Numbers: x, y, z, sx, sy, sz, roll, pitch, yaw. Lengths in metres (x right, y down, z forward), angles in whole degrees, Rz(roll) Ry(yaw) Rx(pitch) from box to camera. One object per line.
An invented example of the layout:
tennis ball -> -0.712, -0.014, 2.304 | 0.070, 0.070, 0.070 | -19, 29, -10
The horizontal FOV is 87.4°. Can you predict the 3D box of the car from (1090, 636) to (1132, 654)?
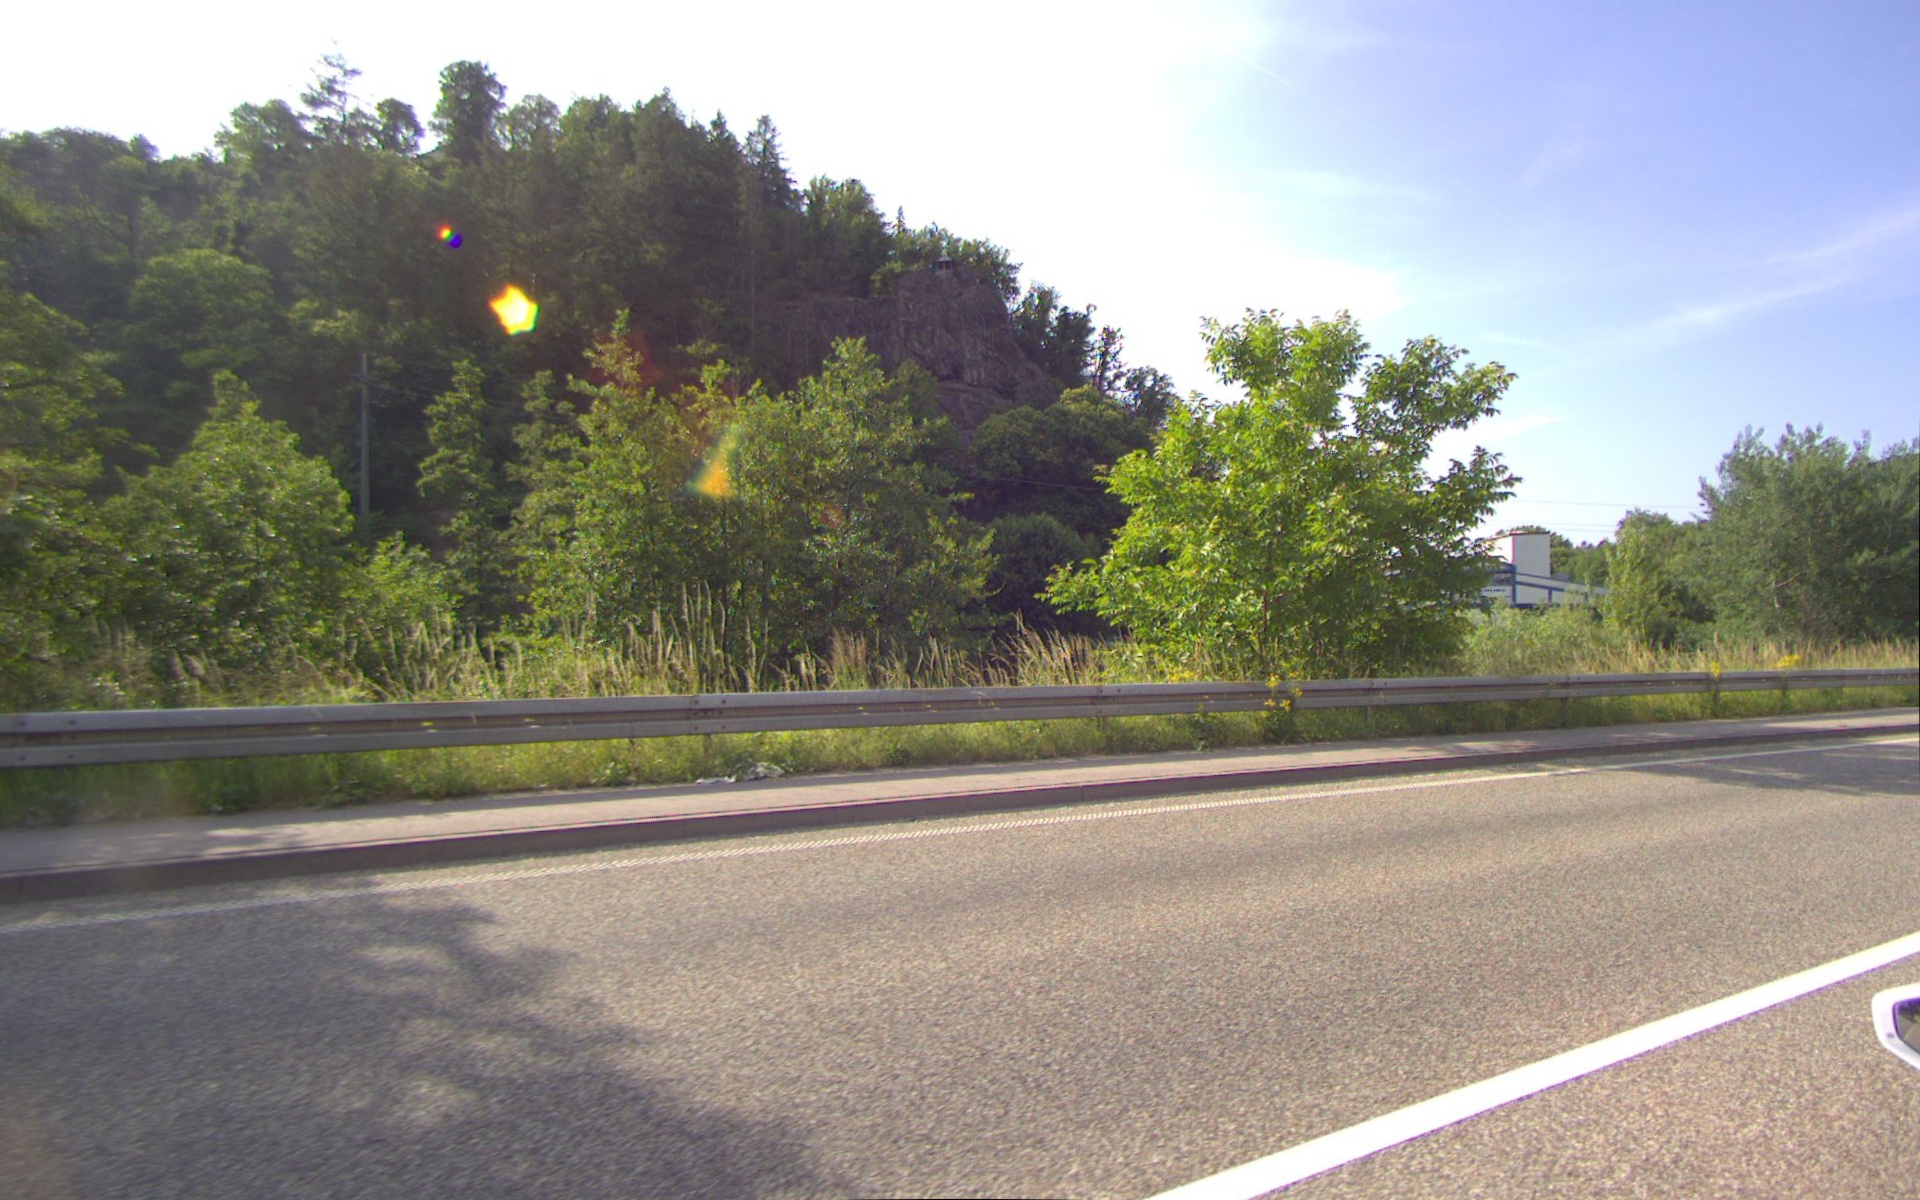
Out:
car -> 15.307, 4.592, 101.858 | 3.958, 1.688, 1.859 | 2, 0, -34
